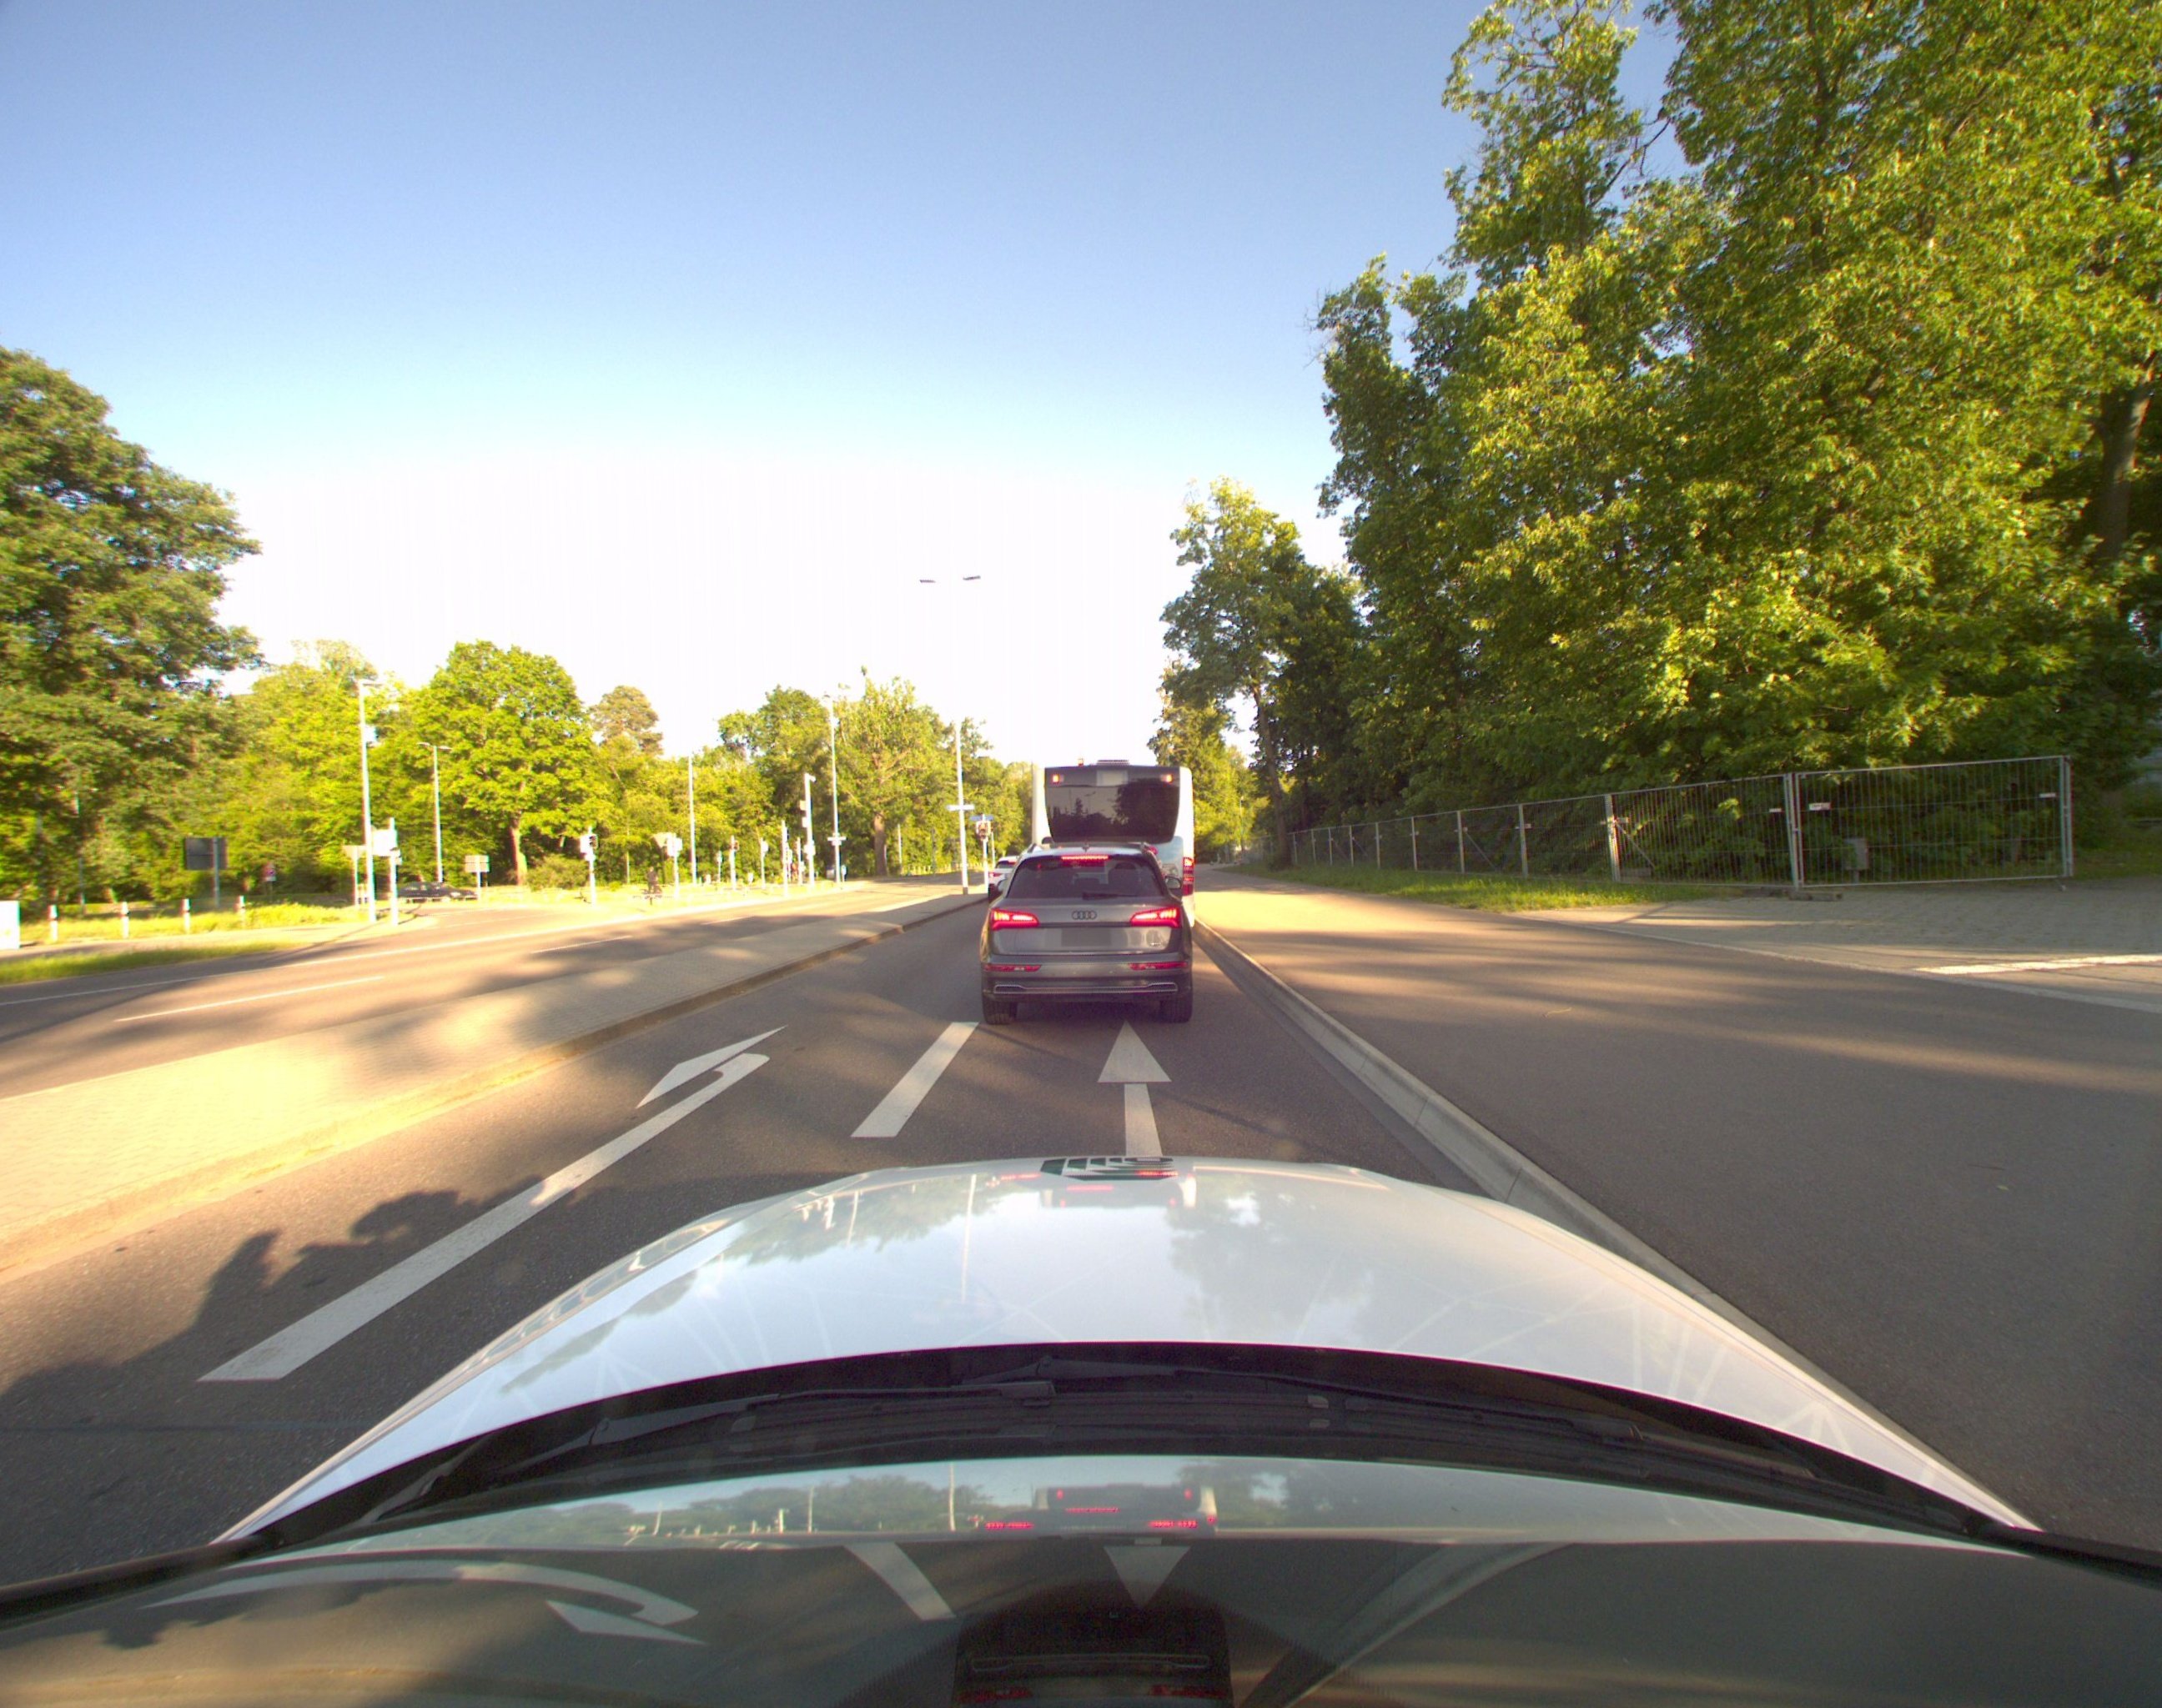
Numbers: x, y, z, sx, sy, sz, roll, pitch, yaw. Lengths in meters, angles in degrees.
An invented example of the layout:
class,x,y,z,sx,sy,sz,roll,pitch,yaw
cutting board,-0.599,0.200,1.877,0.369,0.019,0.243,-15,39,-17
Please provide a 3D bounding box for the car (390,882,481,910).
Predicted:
class,x,y,z,sx,sy,sz,roll,pitch,yaw
car,-38.110,2.454,48.108,4.081,1.387,1.755,-3,0,6

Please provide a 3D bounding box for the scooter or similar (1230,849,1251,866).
class,x,y,z,sx,sy,sz,roll,pitch,yaw
scooter or similar,15.481,0.335,79.034,0.543,1.567,1.999,-3,0,-37

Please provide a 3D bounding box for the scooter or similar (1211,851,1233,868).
class,x,y,z,sx,sy,sz,roll,pitch,yaw
scooter or similar,13.449,0.537,77.785,2.025,1.444,0.601,-3,0,-23

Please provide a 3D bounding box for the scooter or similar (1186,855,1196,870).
class,x,y,z,sx,sy,sz,roll,pitch,yaw
scooter or similar,10.911,0.796,80.573,0.507,1.444,2.020,-3,0,-3

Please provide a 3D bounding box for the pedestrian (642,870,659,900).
class,x,y,z,sx,sy,sz,roll,pitch,yaw
pedestrian,-22.700,1.635,42.932,0.652,1.560,0.533,-2,0,-41

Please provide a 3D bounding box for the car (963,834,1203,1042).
class,x,y,z,sx,sy,sz,roll,pitch,yaw
car,0.078,0.666,8.475,1.891,1.632,4.002,-1,0,2

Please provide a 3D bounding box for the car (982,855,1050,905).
class,x,y,z,sx,sy,sz,roll,pitch,yaw
car,-2.119,0.815,27.689,1.829,1.518,4.002,-2,0,2

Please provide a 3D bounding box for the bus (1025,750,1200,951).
class,x,y,z,sx,sy,sz,roll,pitch,yaw
bus,0.619,-0.001,16.972,2.585,2.989,9.330,-1,-1,2
